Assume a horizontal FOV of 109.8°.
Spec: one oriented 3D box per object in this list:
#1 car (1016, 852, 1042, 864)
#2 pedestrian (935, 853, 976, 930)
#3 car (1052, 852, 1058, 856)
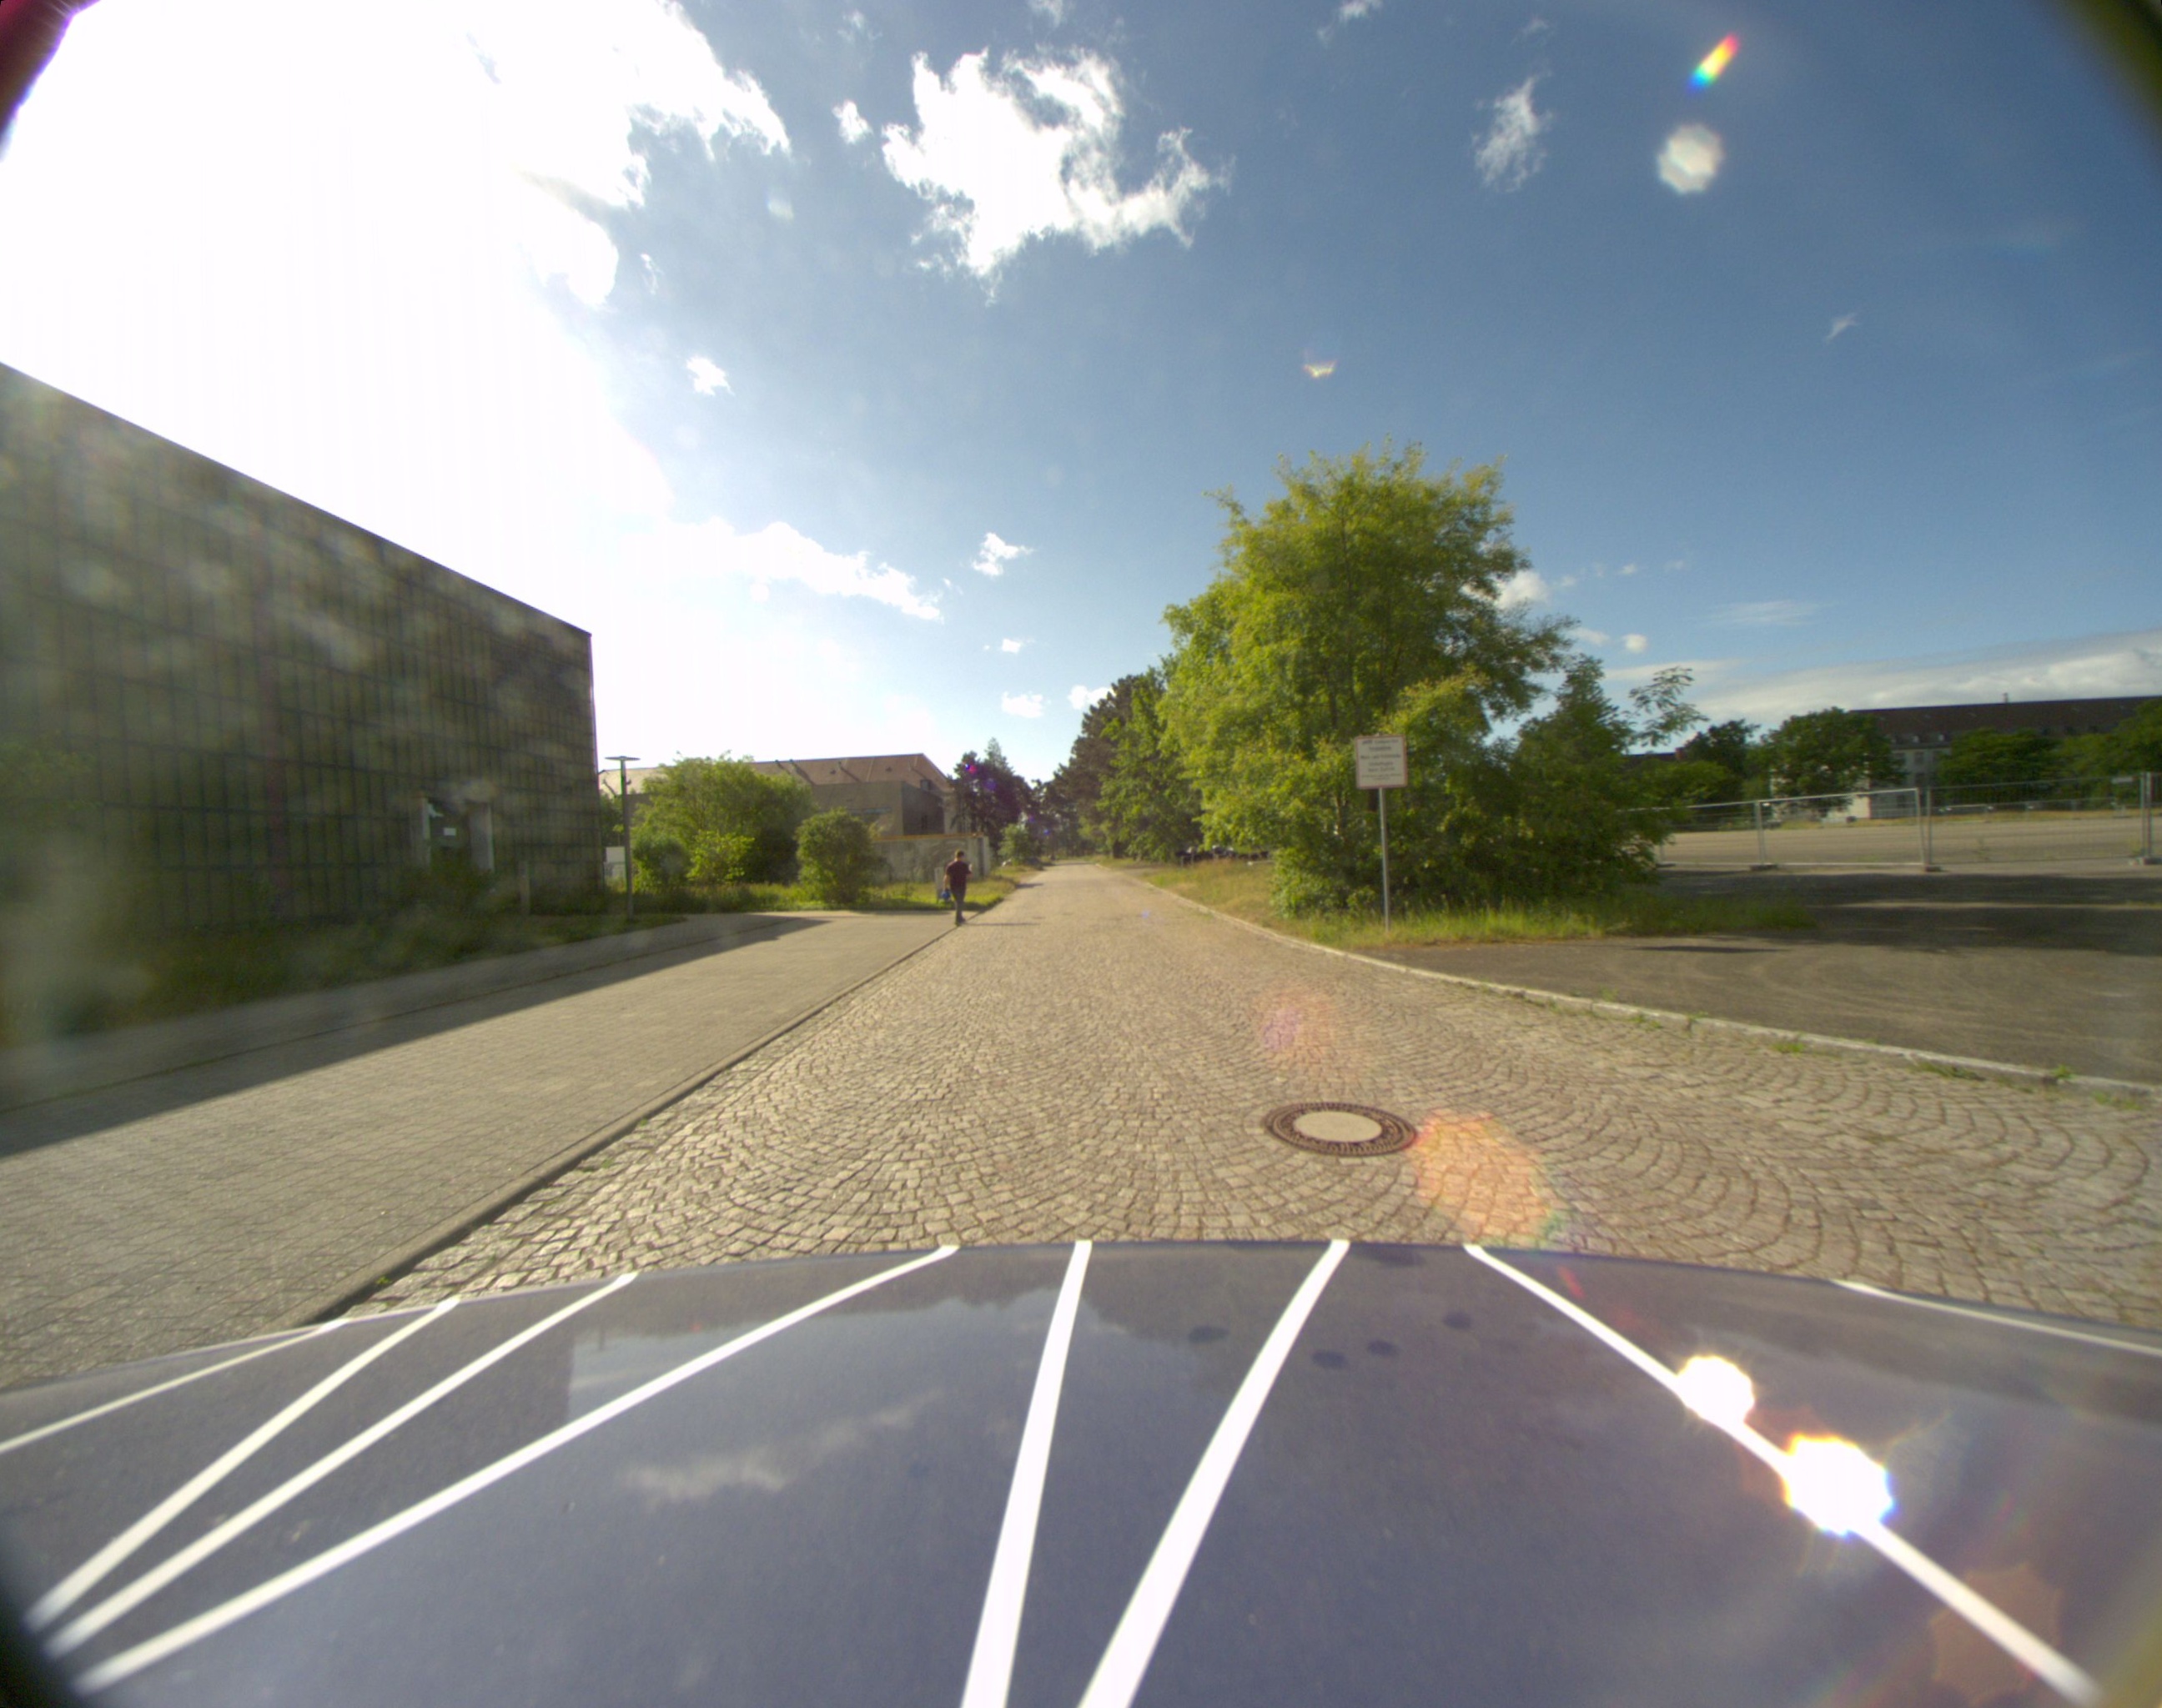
[{"bbox_3d":[-6.157,0.521,89.807,2.912,1.252,1.287,-3,1,-9],"label":"car"},{"bbox_3d":[-2.996,0.874,18.290,0.797,1.770,1.068,-2,1,-2],"label":"pedestrian"},{"bbox_3d":[-7.083,-0.046,205.255,1.373,1.092,2.862,-3,0,-3],"label":"car"}]
